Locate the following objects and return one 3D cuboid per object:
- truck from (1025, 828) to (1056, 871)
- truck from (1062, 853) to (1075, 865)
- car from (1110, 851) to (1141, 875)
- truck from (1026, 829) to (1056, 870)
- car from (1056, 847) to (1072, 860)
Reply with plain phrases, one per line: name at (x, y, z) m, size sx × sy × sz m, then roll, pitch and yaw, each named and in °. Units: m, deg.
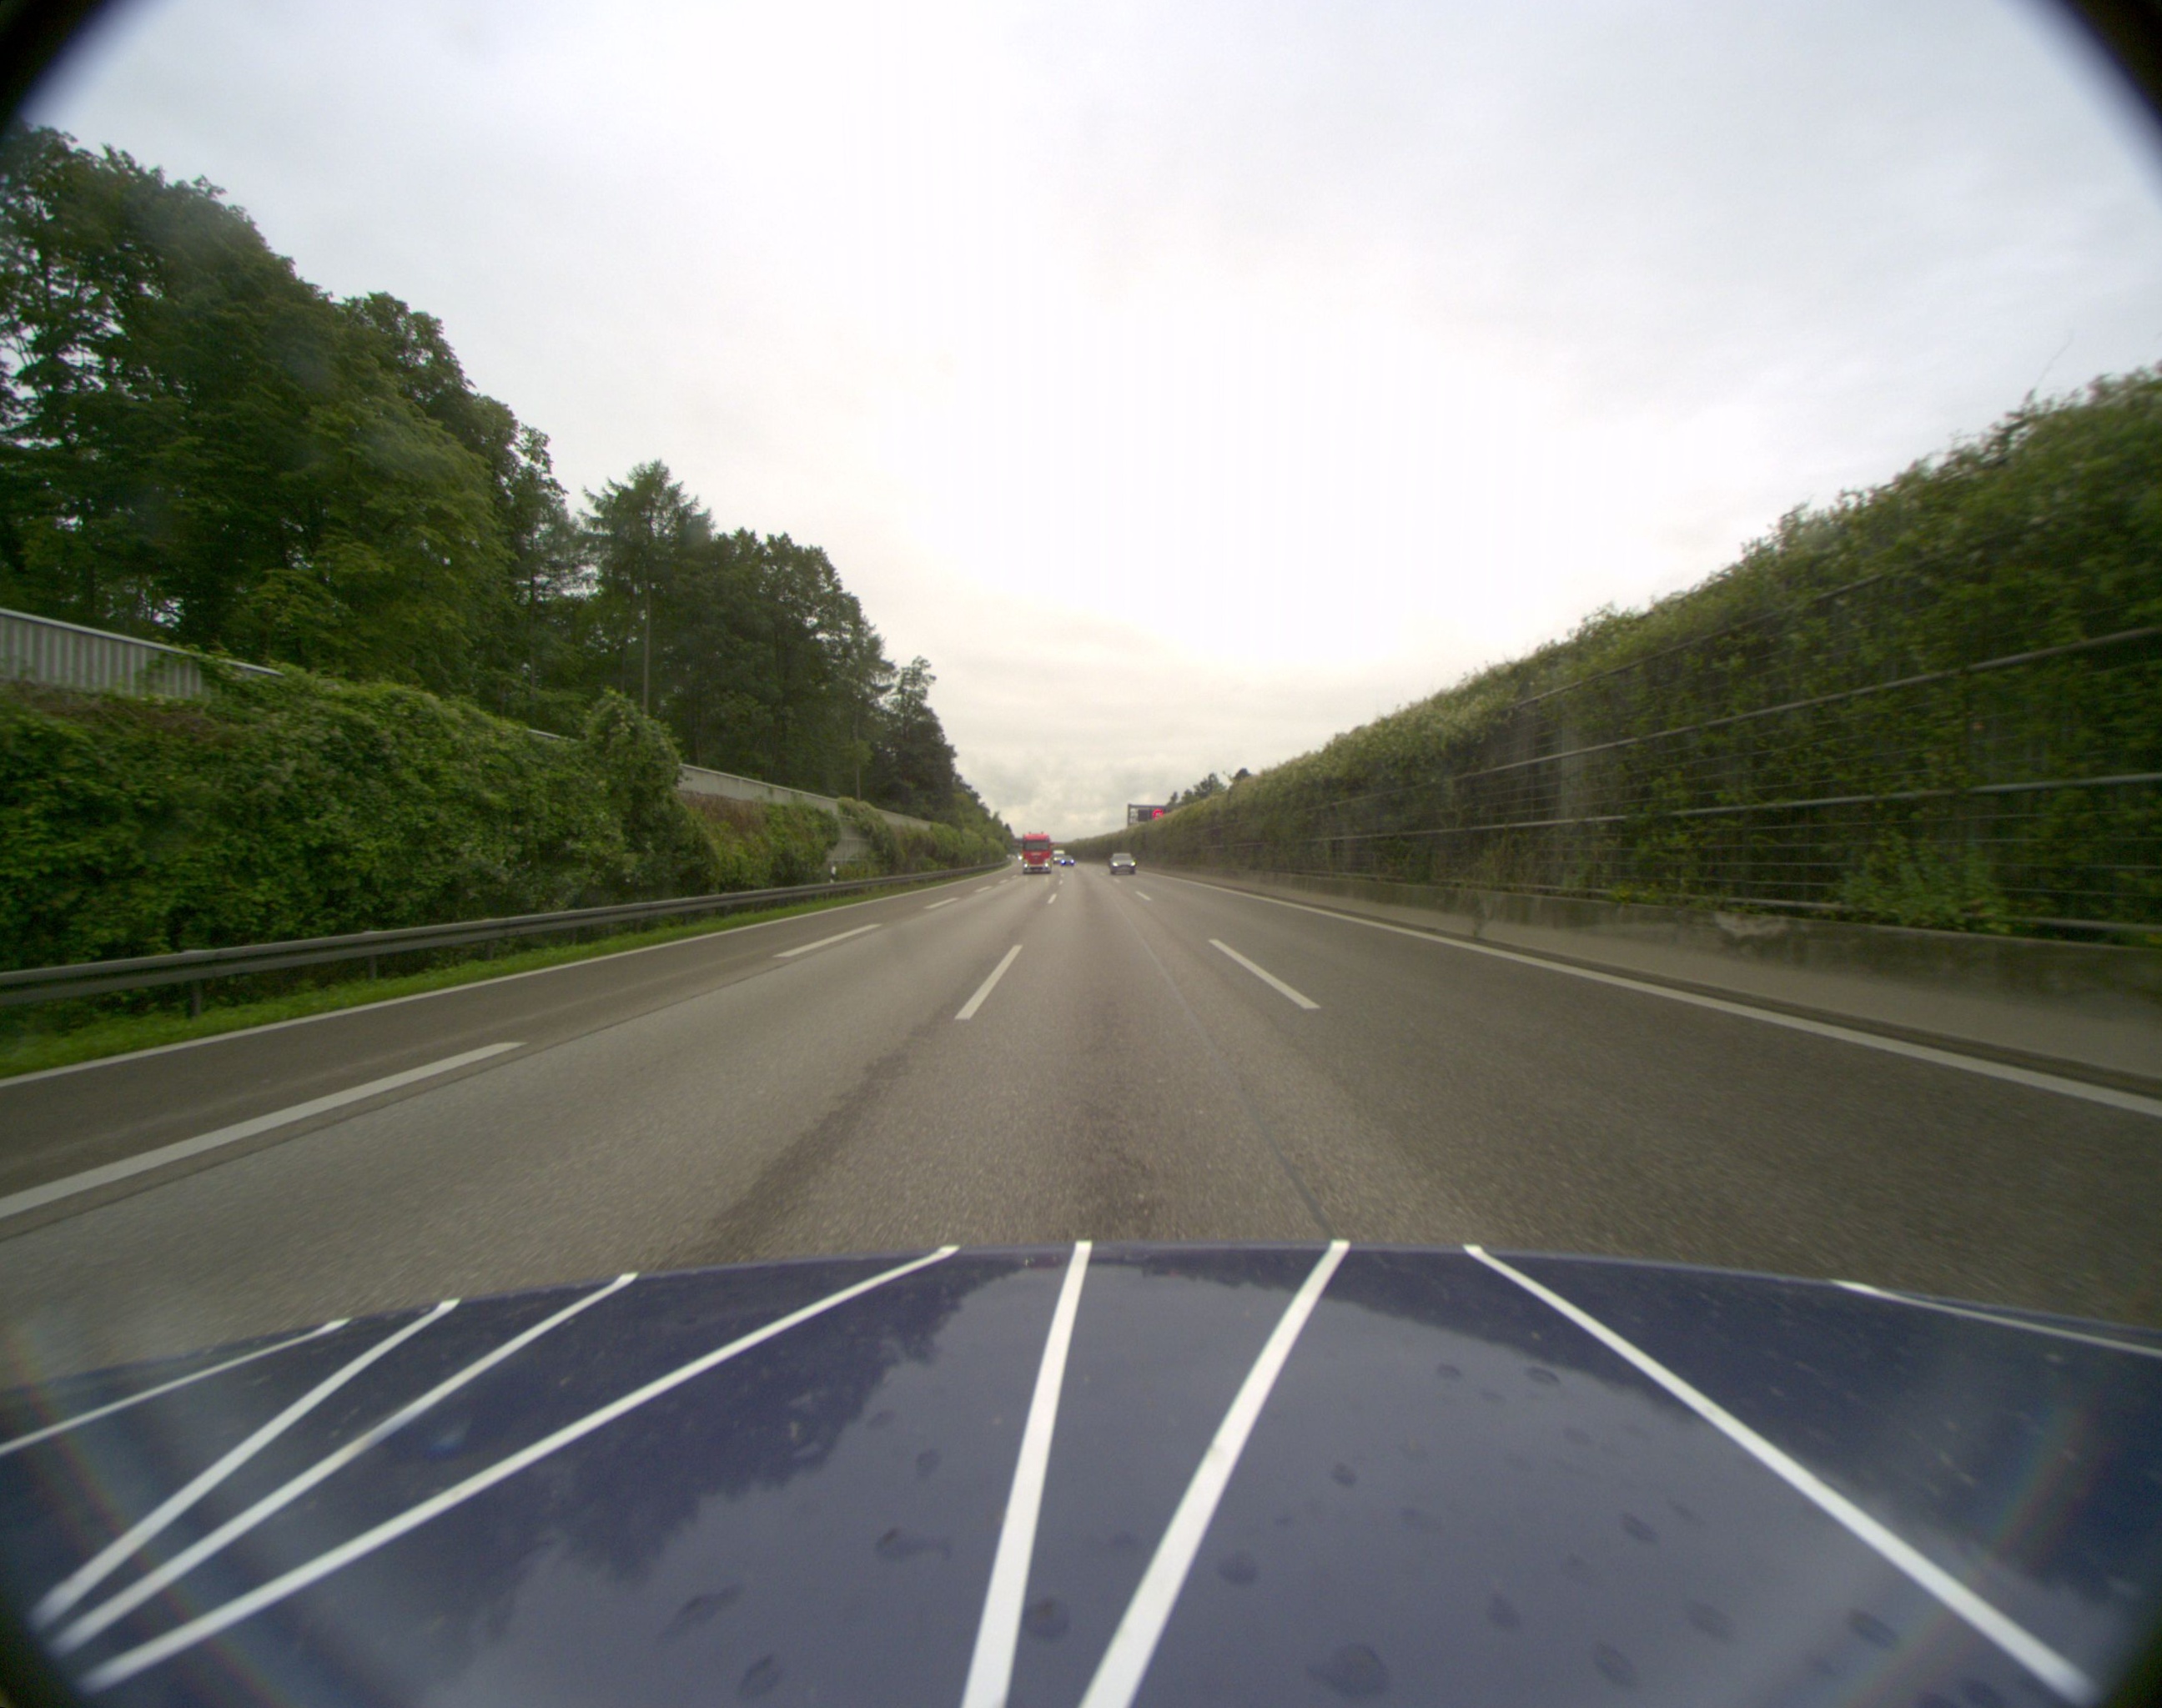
truck at (-3.741, -0.449, 70.525) m, size 2.709 × 3.809 × 4.196 m, roll -1°, pitch 2°, yaw -1°
truck at (-1.861, 0.729, 113.733) m, size 1.826 × 1.535 × 3.997 m, roll -1°, pitch 2°, yaw -3°
car at (3.541, 0.688, 61.333) m, size 2.023 × 1.595 × 5.438 m, roll -2°, pitch 1°, yaw -1°
truck at (-3.851, -0.562, 75.389) m, size 2.709 × 3.691 × 9.837 m, roll -1°, pitch 2°, yaw -2°
car at (-3.080, -0.133, 138.311) m, size 2.769 × 2.227 × 6.544 m, roll -1°, pitch 1°, yaw -2°
